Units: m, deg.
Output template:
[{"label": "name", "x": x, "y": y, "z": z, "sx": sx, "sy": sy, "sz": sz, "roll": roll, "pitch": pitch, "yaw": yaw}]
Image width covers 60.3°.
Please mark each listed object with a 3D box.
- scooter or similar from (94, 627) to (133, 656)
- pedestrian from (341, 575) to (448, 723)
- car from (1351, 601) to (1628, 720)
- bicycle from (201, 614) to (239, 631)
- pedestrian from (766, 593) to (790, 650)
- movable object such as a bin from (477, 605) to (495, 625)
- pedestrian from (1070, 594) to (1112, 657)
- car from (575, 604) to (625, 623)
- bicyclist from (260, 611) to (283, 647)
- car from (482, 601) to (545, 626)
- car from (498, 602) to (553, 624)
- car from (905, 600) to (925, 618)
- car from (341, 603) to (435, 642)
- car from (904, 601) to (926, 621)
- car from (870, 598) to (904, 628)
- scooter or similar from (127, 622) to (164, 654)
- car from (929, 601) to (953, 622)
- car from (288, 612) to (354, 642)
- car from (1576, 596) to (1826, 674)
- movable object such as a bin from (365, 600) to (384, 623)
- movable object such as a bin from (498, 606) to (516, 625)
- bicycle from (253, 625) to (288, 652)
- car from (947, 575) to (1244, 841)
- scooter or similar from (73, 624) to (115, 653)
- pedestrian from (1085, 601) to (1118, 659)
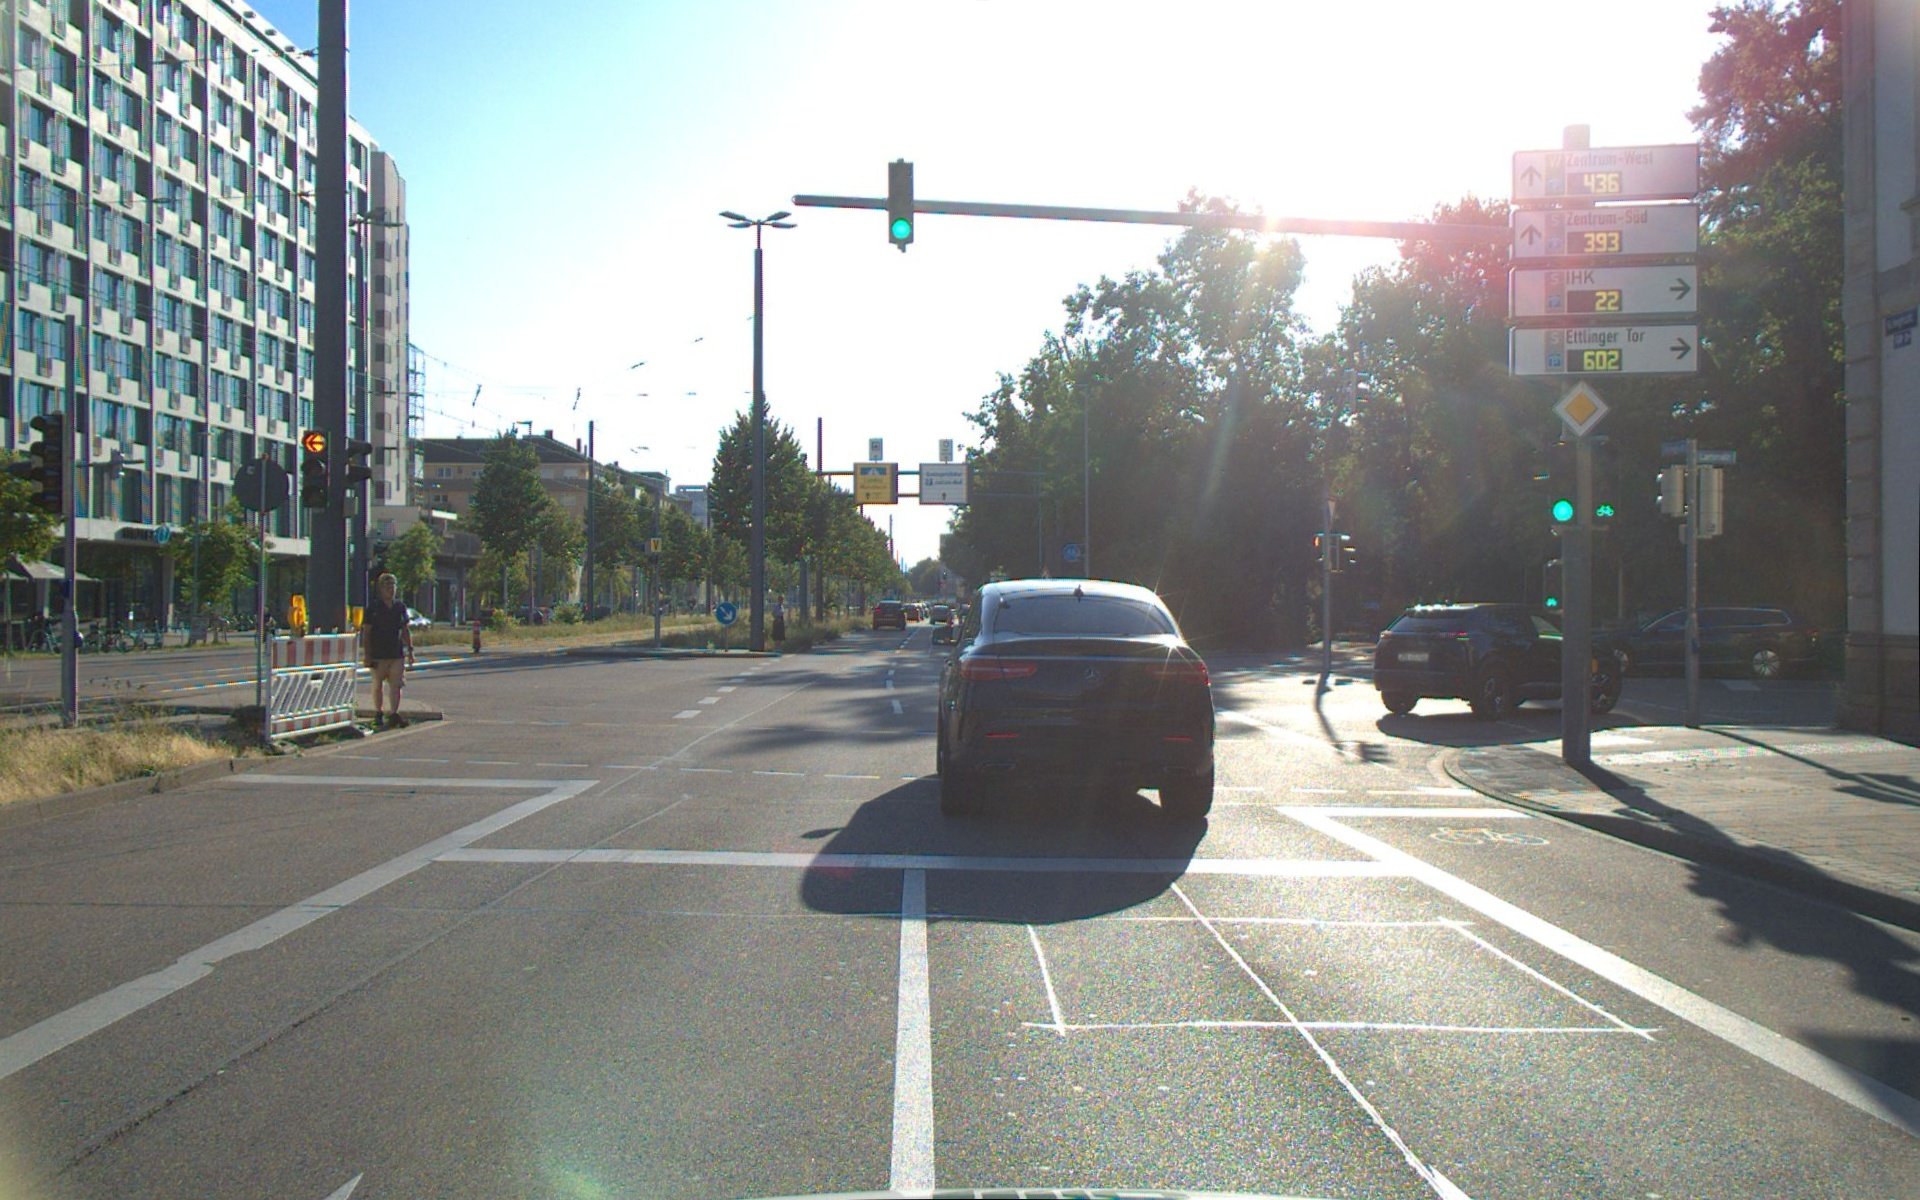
[{"label": "scooter or similar", "x": -31.303, "y": 1.531, "z": 61.182, "sx": 1.218, "sy": 1.037, "sz": 0.435, "roll": 0, "pitch": 0, "yaw": 0}, {"label": "pedestrian", "x": -6.552, "y": 0.554, "z": 19.186, "sx": 0.905, "sy": 1.678, "sz": 0.766, "roll": 0, "pitch": 0, "yaw": 17}, {"label": "car", "x": 7.616, "y": 0.800, "z": 23.647, "sx": 4.017, "sy": 1.554, "sz": 1.877, "roll": 0, "pitch": 0, "yaw": -38}, {"label": "bicycle", "x": -38.786, "y": 1.176, "z": 86.692, "sx": 1.770, "sy": 0.921, "sz": 0.511, "roll": 0, "pitch": 0, "yaw": -7}, {"label": "pedestrian", "x": -5.493, "y": 0.641, "z": 49.898, "sx": 0.586, "sy": 1.729, "sz": 0.714, "roll": 0, "pitch": 0, "yaw": 4}, {"label": "movable object such as a bin", "x": -32.908, "y": 1.034, "z": 114.908, "sx": 0.839, "sy": 1.381, "sz": 0.940, "roll": 0, "pitch": 0, "yaw": 13}, {"label": "pedestrian", "x": 3.932, "y": 0.763, "z": 49.707, "sx": 0.850, "sy": 1.833, "sz": 0.896, "roll": -2, "pitch": 0, "yaw": -35}, {"label": "car", "x": -32.433, "y": 1.236, "z": 148.867, "sx": 3.967, "sy": 1.590, "sz": 1.969, "roll": 1, "pitch": 0, "yaw": -43}, {"label": "bicyclist", "x": -28.999, "y": 1.225, "z": 69.666, "sx": 0.612, "sy": 1.490, "sz": 0.851, "roll": 0, "pitch": 0, "yaw": 0}, {"label": "car", "x": -32.543, "y": 0.960, "z": 120.611, "sx": 4.061, "sy": 1.629, "sz": 1.723, "roll": 3, "pitch": 0, "yaw": -42}, {"label": "car", "x": -32.586, "y": 0.982, "z": 124.046, "sx": 3.594, "sy": 1.550, "sz": 1.596, "roll": 2, "pitch": -1, "yaw": -42}, {"label": "car", "x": -4.196, "y": 0.874, "z": 155.262, "sx": 1.847, "sy": 1.608, "sz": 3.999, "roll": 1, "pitch": 1, "yaw": -2}, {"label": "car", "x": -20.870, "y": 0.790, "z": 60.496, "sx": 1.853, "sy": 1.367, "sz": 4.849, "roll": 0, "pitch": 0, "yaw": -1}, {"label": "car", "x": -3.789, "y": 0.889, "z": 138.943, "sx": 1.847, "sy": 1.608, "sz": 3.999, "roll": 1, "pitch": 1, "yaw": -2}, {"label": "car", "x": -4.101, "y": 0.711, "z": 93.735, "sx": 1.847, "sy": 1.608, "sz": 3.999, "roll": 1, "pitch": 1, "yaw": -2}, {"label": "scooter or similar", "x": -31.127, "y": 1.452, "z": 63.230, "sx": 1.218, "sy": 1.192, "sz": 0.406, "roll": 0, "pitch": 0, "yaw": 0}, {"label": "car", "x": -1.518, "y": 0.892, "z": 131.140, "sx": 1.847, "sy": 1.608, "sz": 3.999, "roll": 1, "pitch": 1, "yaw": -2}, {"label": "car", "x": -31.354, "y": 1.317, "z": 81.268, "sx": 1.721, "sy": 1.351, "sz": 3.999, "roll": 1, "pitch": 0, "yaw": -1}, {"label": "car", "x": 14.960, "y": 0.703, "z": 33.562, "sx": 4.494, "sy": 1.500, "sz": 1.902, "roll": 0, "pitch": -1, "yaw": 24}, {"label": "movable object such as a bin", "x": -39.006, "y": 0.759, "z": 110.247, "sx": 0.784, "sy": 1.465, "sz": 1.402, "roll": 0, "pitch": 0, "yaw": -1}, {"label": "movable object such as a bin", "x": -31.554, "y": 1.062, "z": 115.257, "sx": 0.839, "sy": 1.303, "sz": 0.940, "roll": 0, "pitch": 0, "yaw": 13}, {"label": "bicycle", "x": -29.008, "y": 1.622, "z": 69.645, "sx": 0.612, "sy": 1.085, "sz": 2.078, "roll": 0, "pitch": 0, "yaw": 0}, {"label": "car", "x": 0.899, "y": 0.703, "z": 13.119, "sx": 1.953, "sy": 1.765, "sz": 3.999, "roll": 1, "pitch": 1, "yaw": -1}, {"label": "scooter or similar", "x": -31.251, "y": 1.394, "z": 59.676, "sx": 1.218, "sy": 1.037, "sz": 0.511, "roll": 0, "pitch": 0, "yaw": 0}, {"label": "pedestrian", "x": 4.180, "y": 0.891, "z": 48.829, "sx": 0.752, "sy": 1.665, "sz": 0.768, "roll": -2, "pitch": 0, "yaw": -10}]
